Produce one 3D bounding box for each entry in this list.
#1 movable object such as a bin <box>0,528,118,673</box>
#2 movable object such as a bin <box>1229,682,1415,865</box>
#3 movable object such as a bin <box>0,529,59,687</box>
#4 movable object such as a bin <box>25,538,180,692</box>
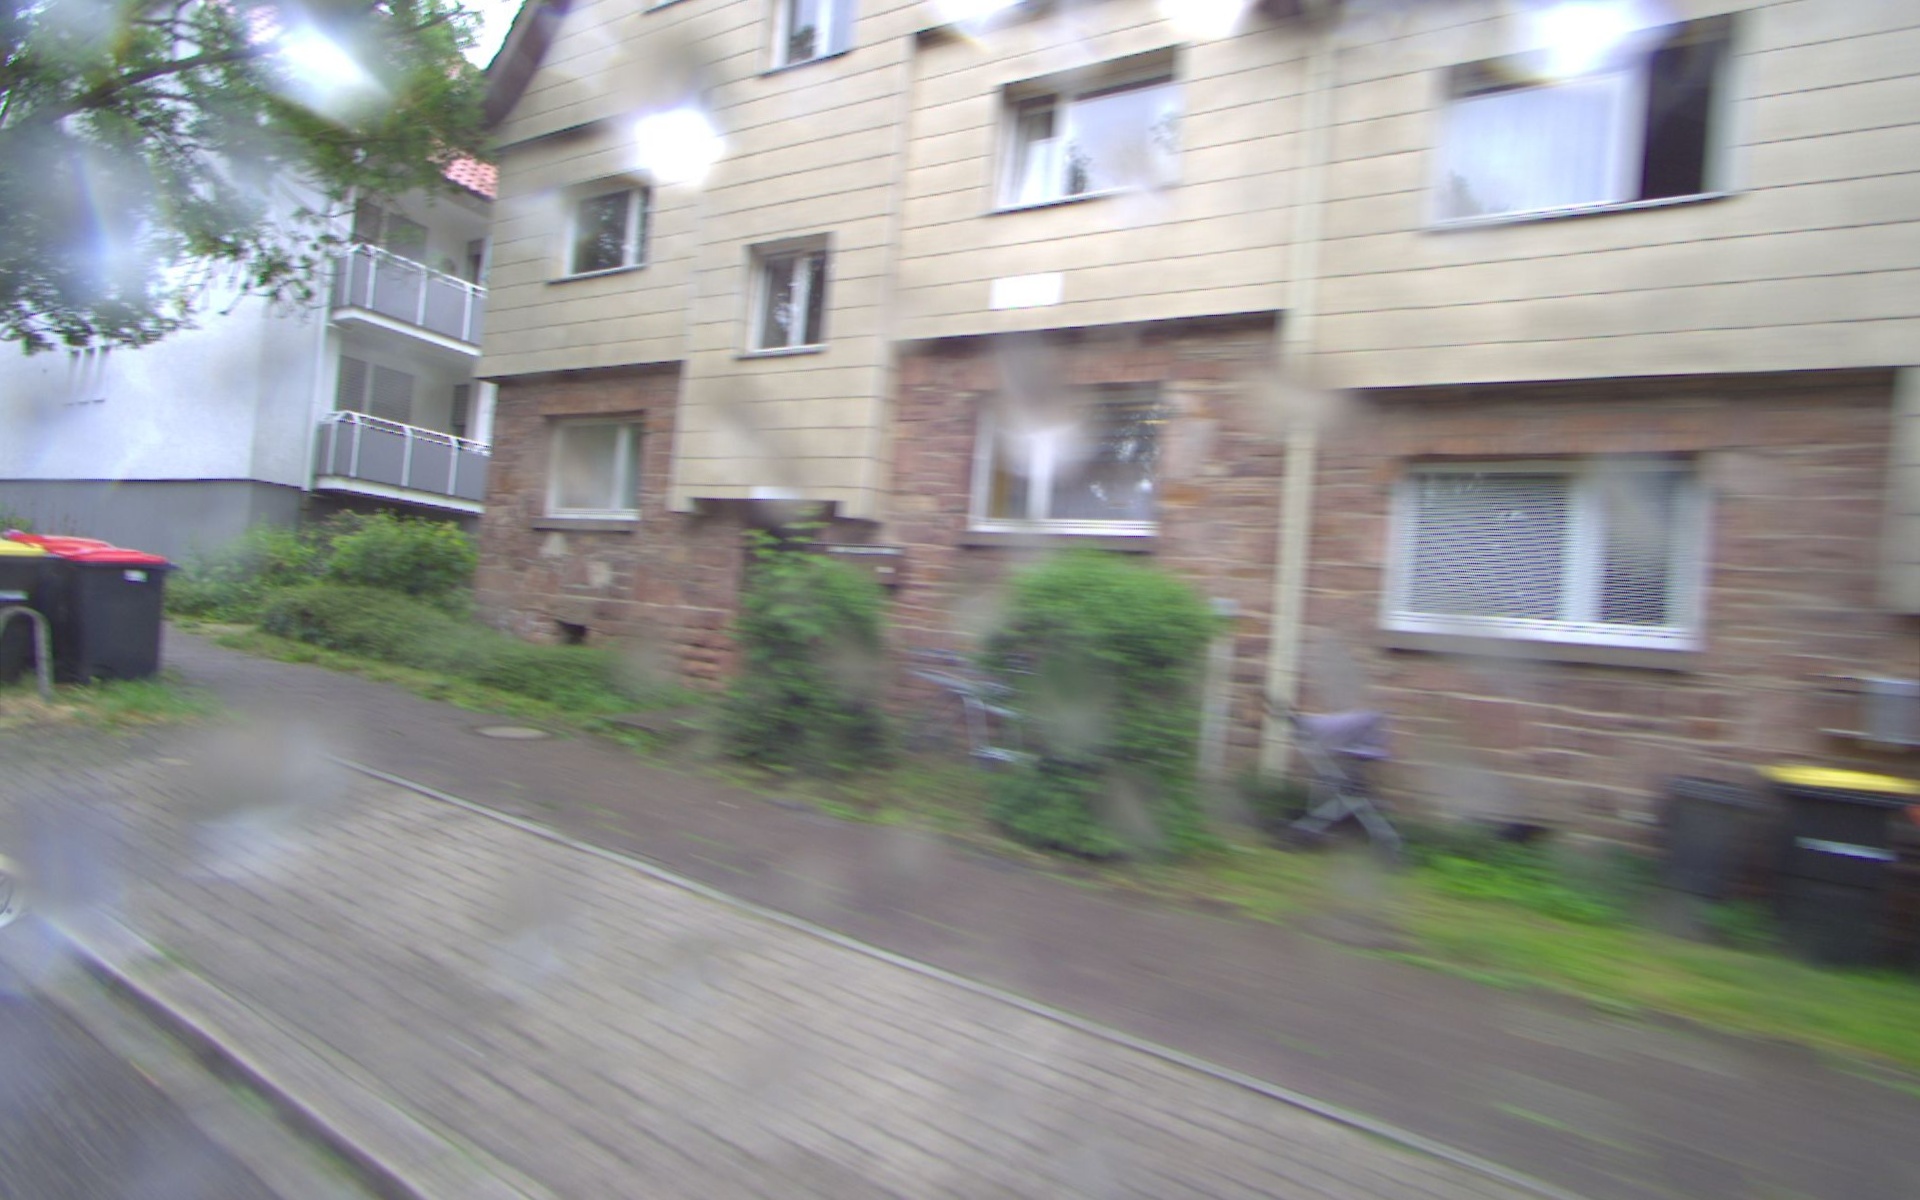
[{"bbox_3d":[-7.412,-0.004,8.140,0.808,1.064,0.619,8,3,29],"label":"movable object such as a bin"},{"bbox_3d":[2.410,1.113,6.678,0.926,0.976,0.701,8,-1,32],"label":"movable object such as a bin"},{"bbox_3d":[-7.025,0.032,7.174,0.808,1.064,0.619,8,3,29],"label":"movable object such as a bin"},{"bbox_3d":[-6.637,0.111,7.791,0.808,1.064,0.619,8,3,29],"label":"movable object such as a bin"}]
